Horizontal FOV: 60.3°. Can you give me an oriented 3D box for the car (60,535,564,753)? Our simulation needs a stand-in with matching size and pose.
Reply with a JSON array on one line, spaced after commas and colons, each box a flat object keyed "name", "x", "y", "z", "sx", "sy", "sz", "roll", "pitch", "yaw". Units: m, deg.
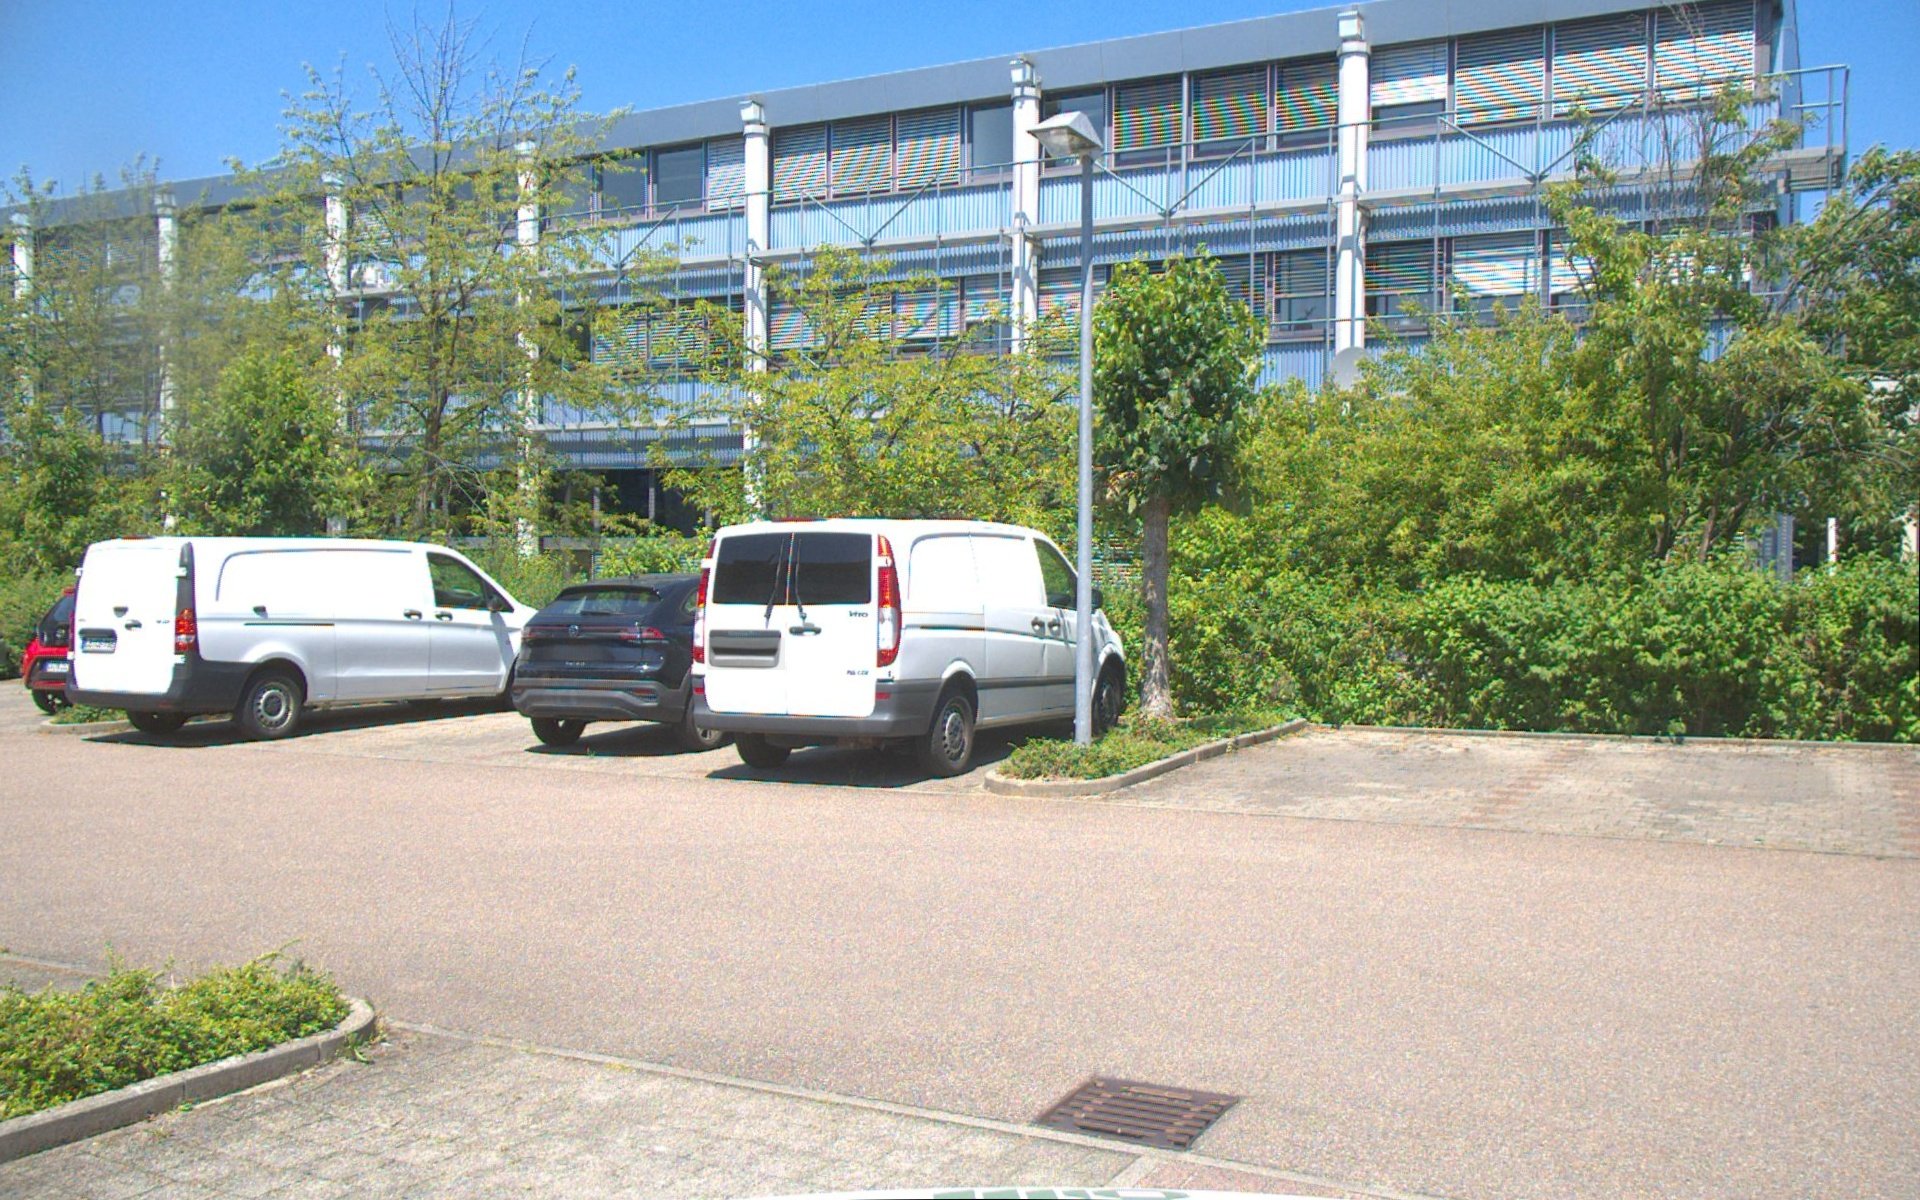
[{"name": "car", "x": -6.485, "y": 0.319, "z": 17.184, "sx": 1.846, "sy": 1.924, "sz": 4.796, "roll": 0, "pitch": 2, "yaw": 29}]

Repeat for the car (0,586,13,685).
[{"name": "car", "x": -15.722, "y": 0.557, "z": 22.924, "sx": 1.833, "sy": 1.431, "sz": 4.162, "roll": 0, "pitch": 2, "yaw": 30}]

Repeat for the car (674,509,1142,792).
[{"name": "car", "x": -0.189, "y": 0.281, "z": 13.901, "sx": 1.875, "sy": 1.938, "sz": 4.804, "roll": 0, "pitch": 1, "yaw": 26}]

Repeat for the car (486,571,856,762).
[{"name": "car", "x": -2.542, "y": 0.513, "z": 15.592, "sx": 1.717, "sy": 1.502, "sz": 4.002, "roll": -1, "pitch": 2, "yaw": 19}]

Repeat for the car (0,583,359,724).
[{"name": "car", "x": -9.463, "y": 0.555, "z": 19.923, "sx": 1.749, "sy": 1.466, "sz": 3.992, "roll": 0, "pitch": 1, "yaw": 30}]
